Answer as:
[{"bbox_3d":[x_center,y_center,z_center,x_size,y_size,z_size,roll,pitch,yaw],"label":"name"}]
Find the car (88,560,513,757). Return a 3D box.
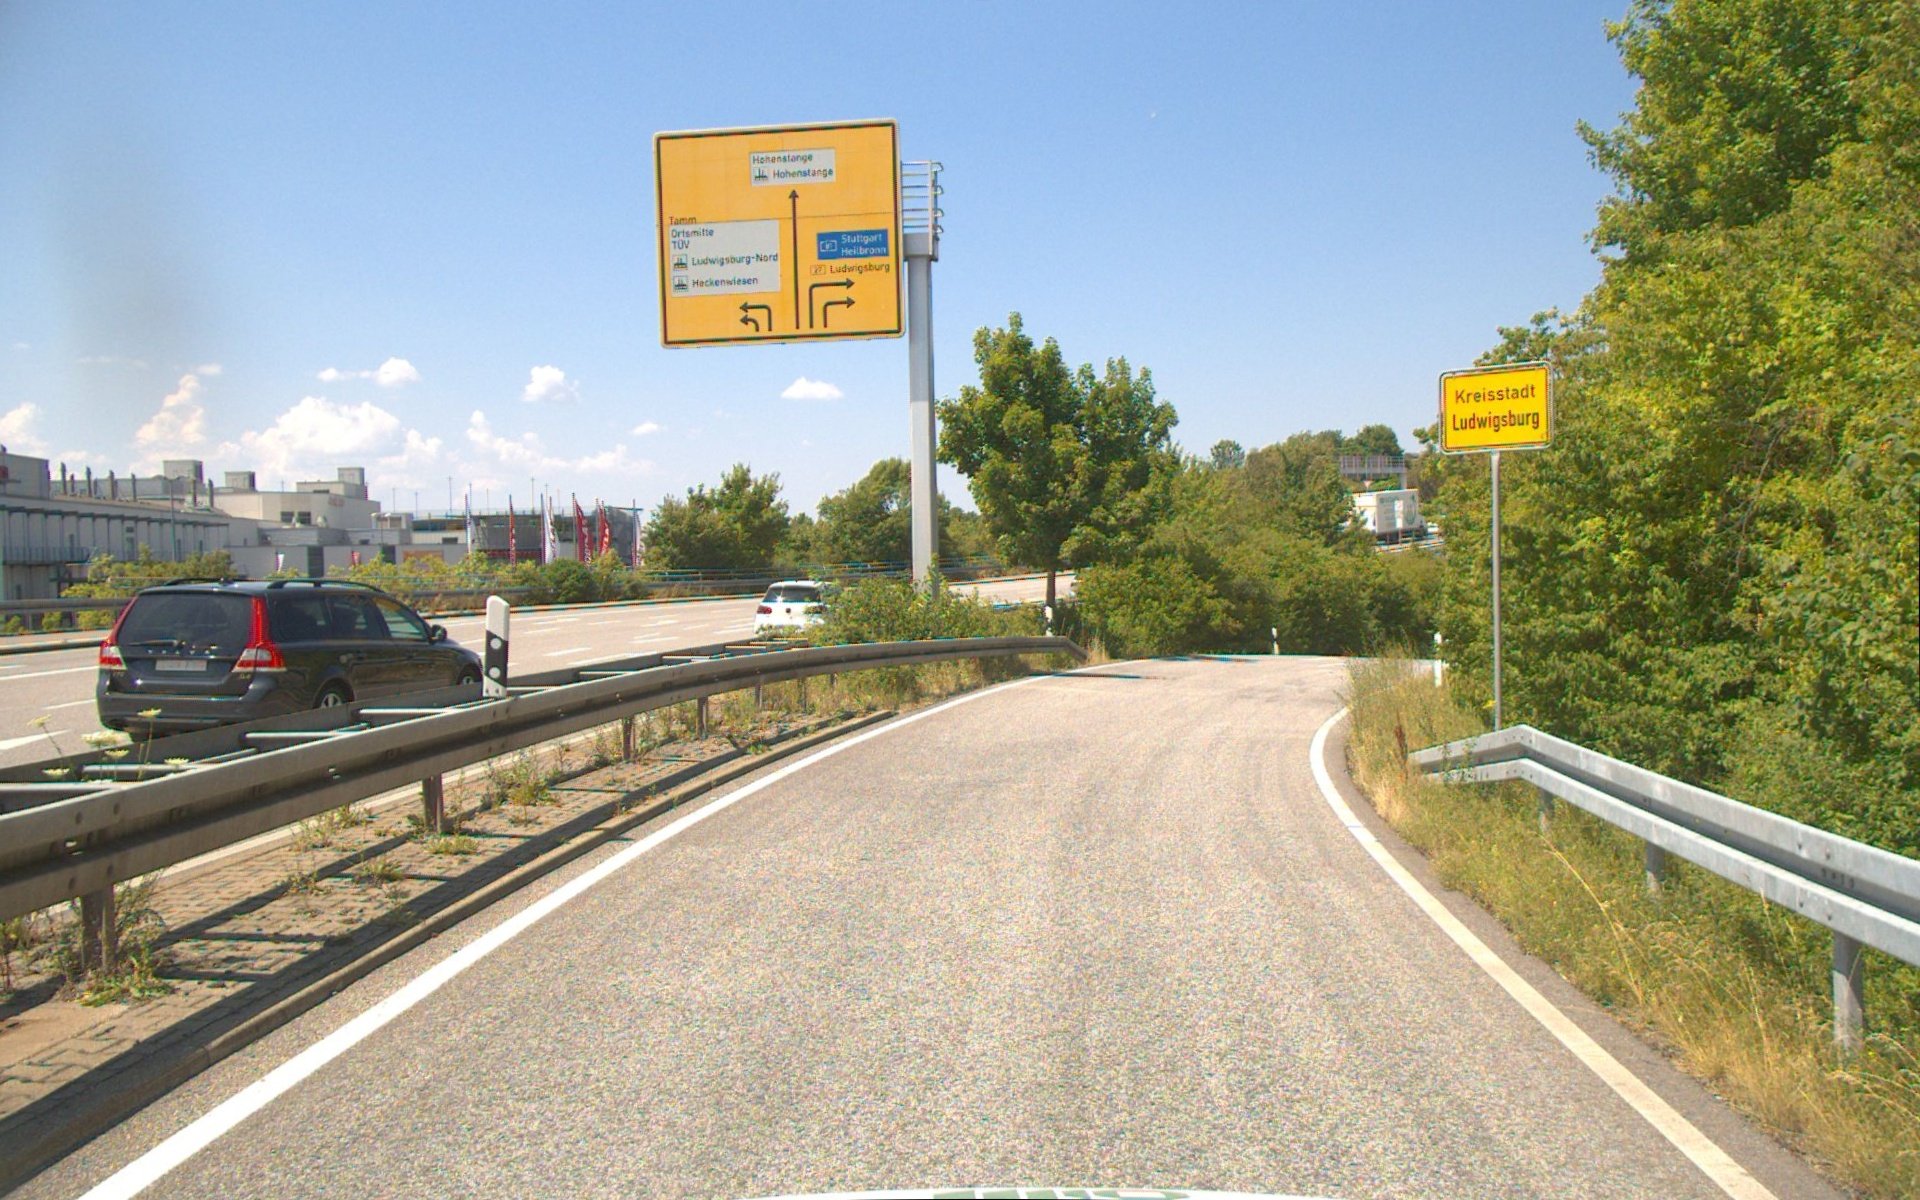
[{"bbox_3d":[-6.011,0.473,15.791,1.694,1.572,4.738,-1,0,7],"label":"car"}]

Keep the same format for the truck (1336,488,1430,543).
[{"bbox_3d":[30.211,-5.989,117.819,2.979,3.652,8.861,-2,1,39],"label":"truck"}]

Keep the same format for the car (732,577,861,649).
[{"bbox_3d":[-3.554,0.264,36.725,1.951,1.512,4.138,0,0,7],"label":"car"}]

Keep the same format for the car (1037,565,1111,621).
[{"bbox_3d":[4.493,-0.292,64.843,1.701,2.048,3.787,-3,1,22],"label":"car"}]
